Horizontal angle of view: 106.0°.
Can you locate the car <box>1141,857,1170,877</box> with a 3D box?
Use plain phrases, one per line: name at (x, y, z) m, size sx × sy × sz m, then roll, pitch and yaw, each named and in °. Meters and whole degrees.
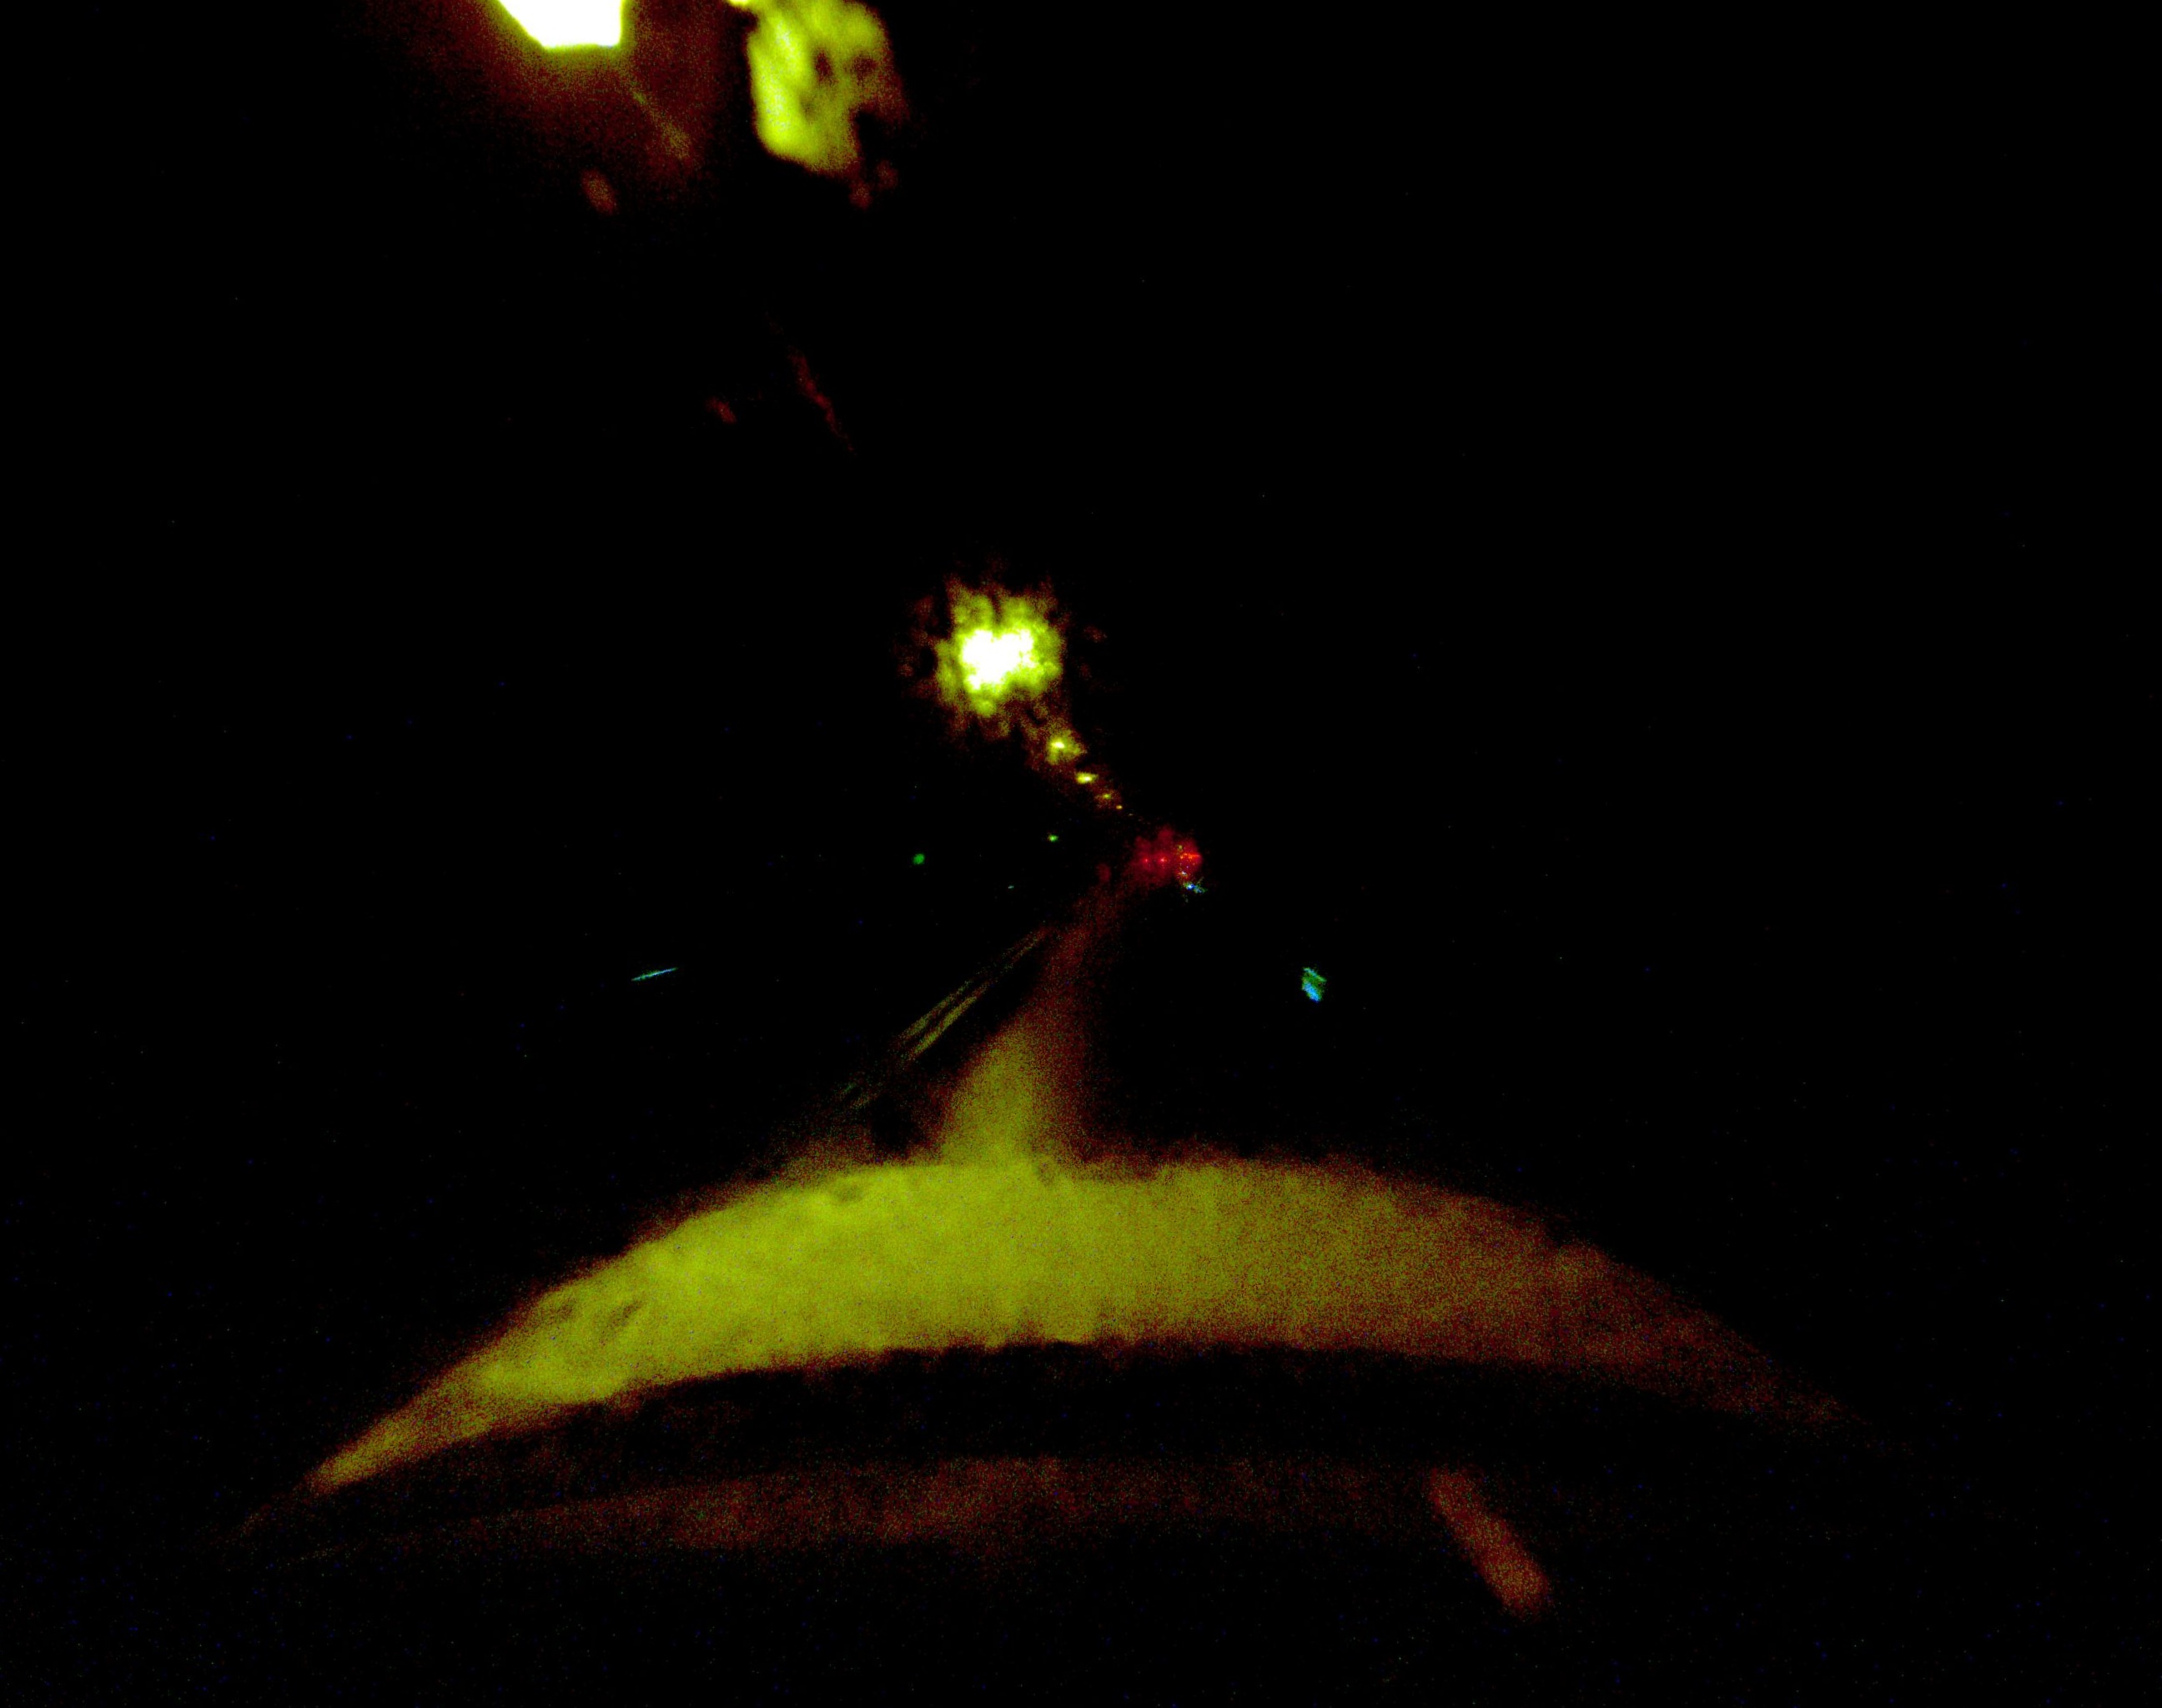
car at (6.217, 1.081, 67.923) m, size 2.077 × 1.662 × 4.011 m, roll 0°, pitch -1°, yaw 10°
